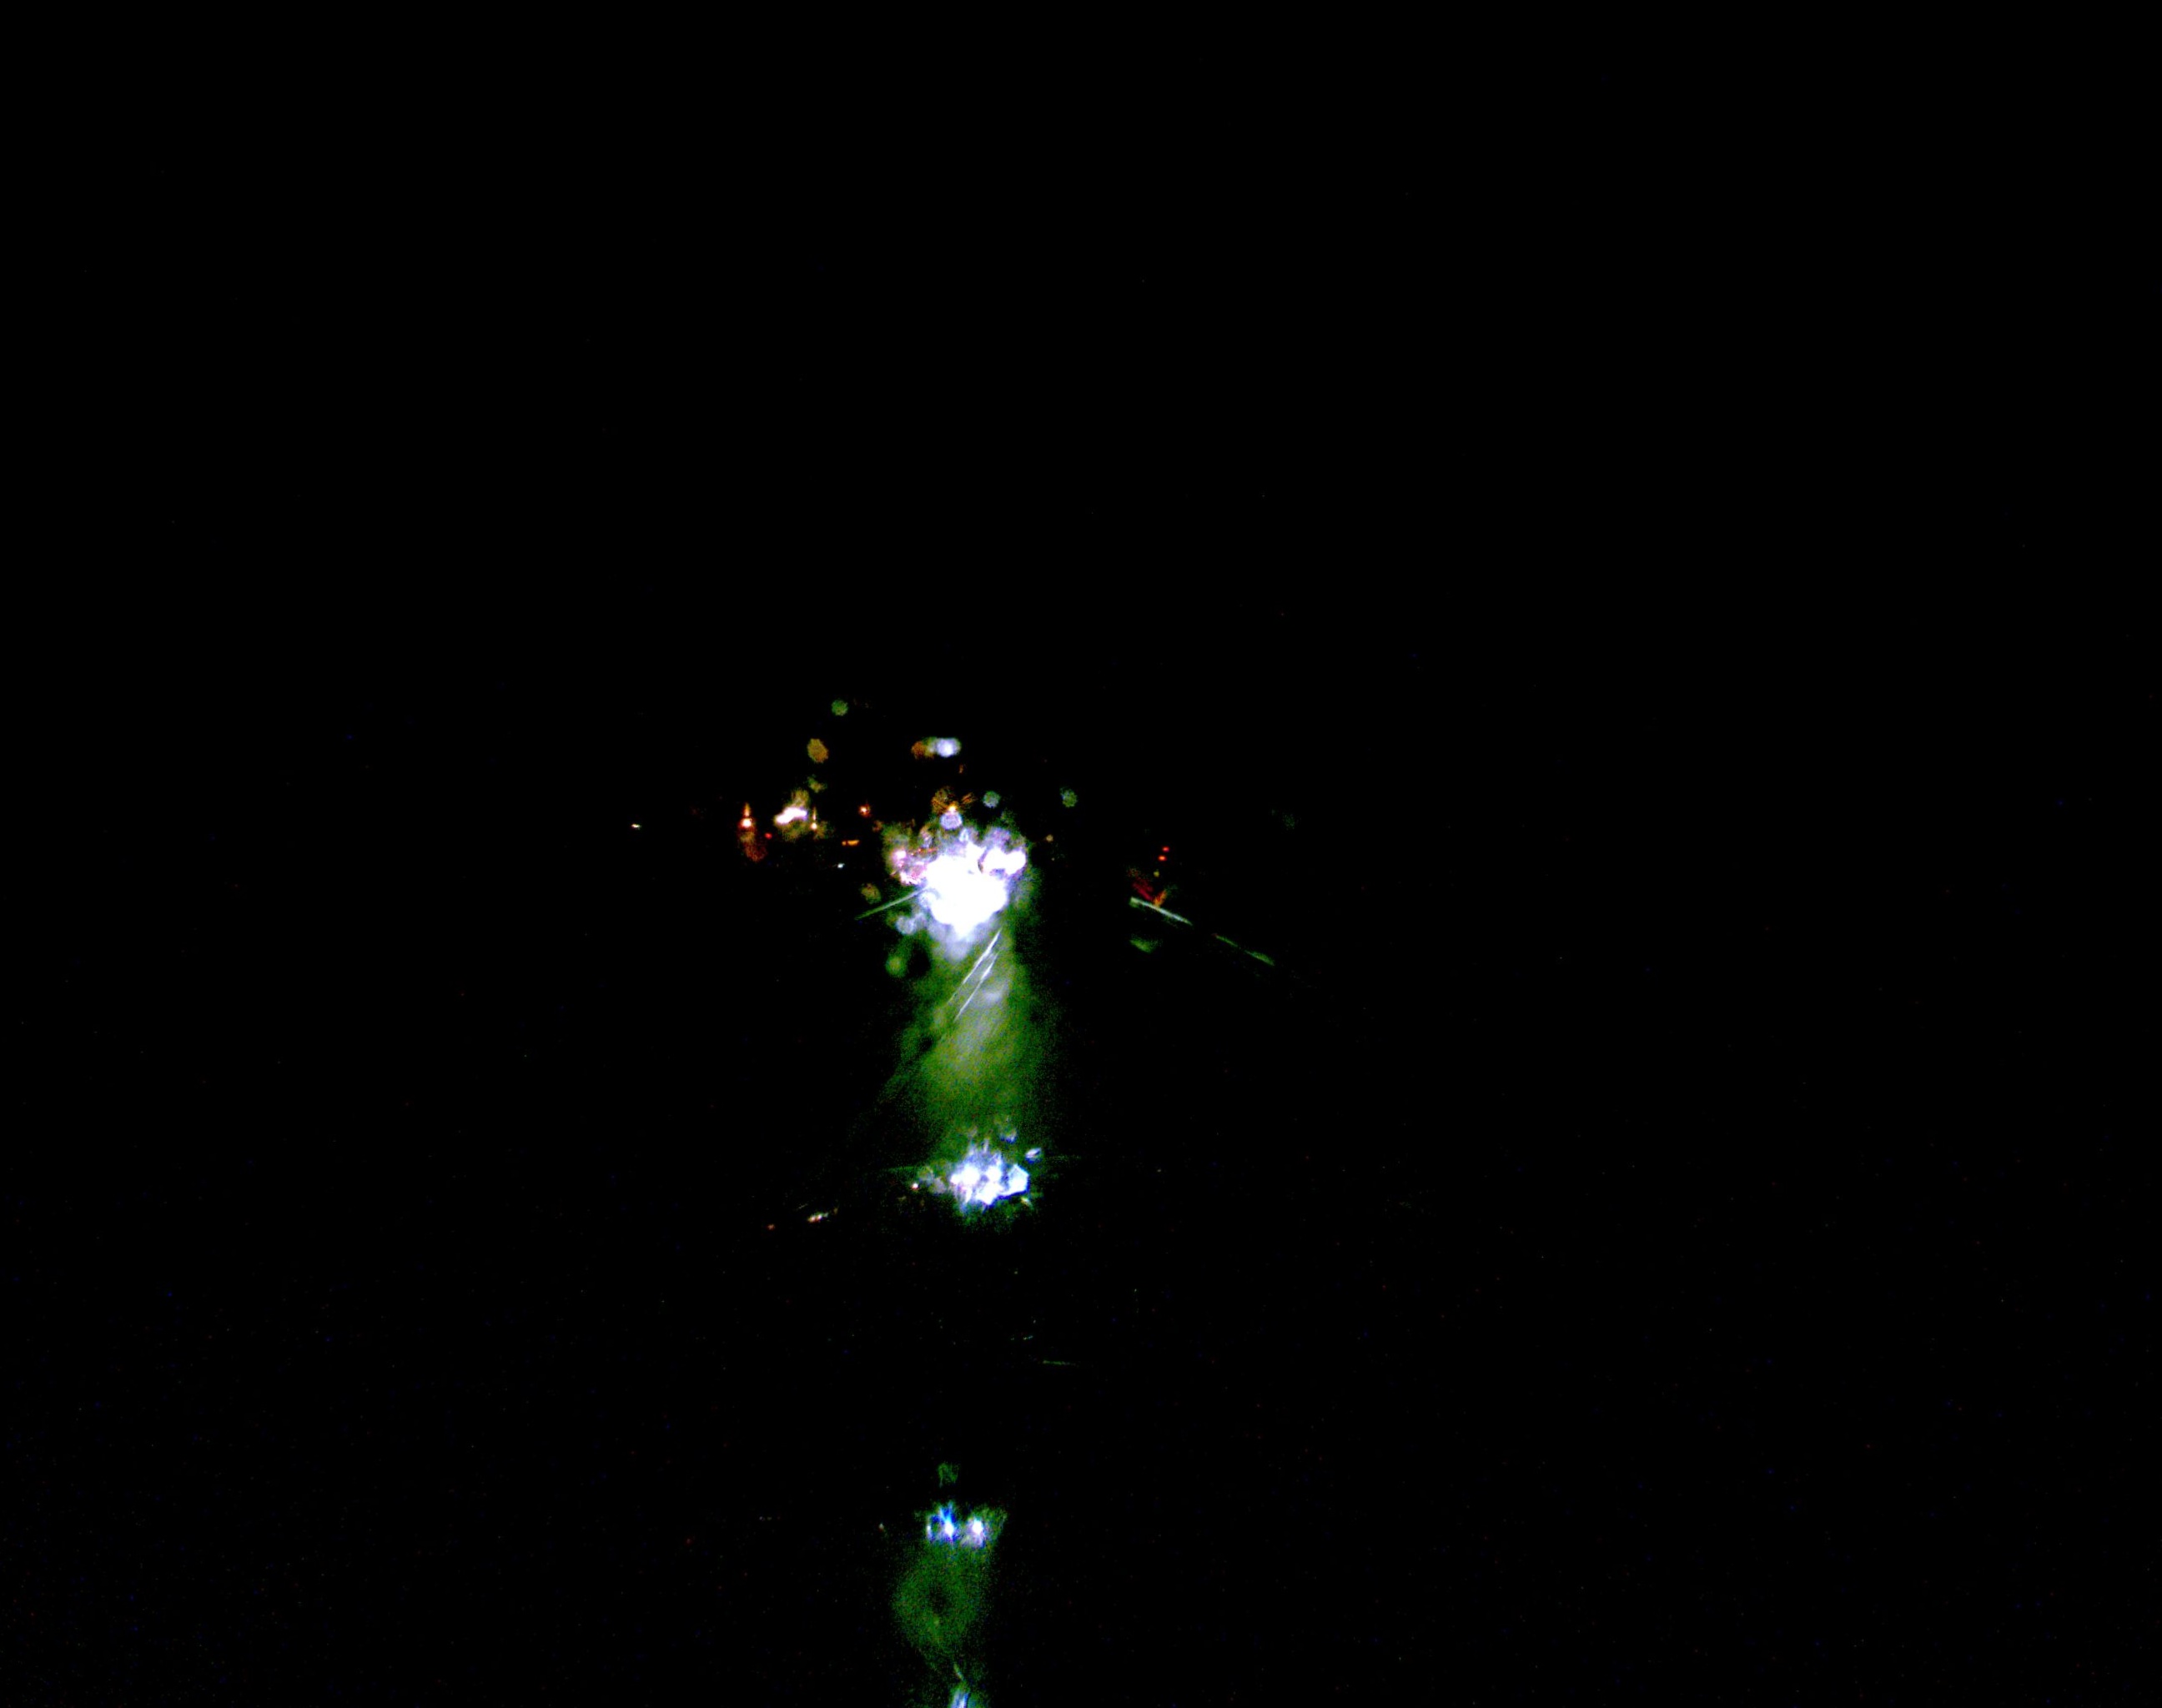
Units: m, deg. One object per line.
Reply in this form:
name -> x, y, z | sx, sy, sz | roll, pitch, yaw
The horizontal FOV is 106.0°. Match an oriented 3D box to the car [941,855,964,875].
car -> -10.396, 0.862, 65.690 | 1.713, 1.476, 3.854 | 0, 0, -12

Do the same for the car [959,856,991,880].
car -> -6.960, 0.895, 52.984 | 1.955, 1.522, 4.385 | 0, -1, -9

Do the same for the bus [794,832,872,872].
bus -> -25.564, -0.234, 83.176 | 2.917, 3.868, 12.908 | -1, 1, -39

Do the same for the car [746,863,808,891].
car -> -18.458, 1.349, 49.676 | 1.679, 1.398, 4.159 | -4, 1, 7

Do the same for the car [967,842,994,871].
car -> -10.154, 0.211, 82.121 | 2.538, 2.497, 5.699 | -1, 3, -9

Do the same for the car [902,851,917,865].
car -> -21.112, 0.502, 100.266 | 1.698, 1.599, 3.784 | -1, 1, -13

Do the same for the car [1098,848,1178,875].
car -> 3.588, 0.493, 51.658 | 4.713, 1.691, 1.973 | -1, -1, 35

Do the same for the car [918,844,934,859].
car -> -20.989, -0.341, 110.076 | 1.995, 2.014, 3.983 | 0, -1, -12
